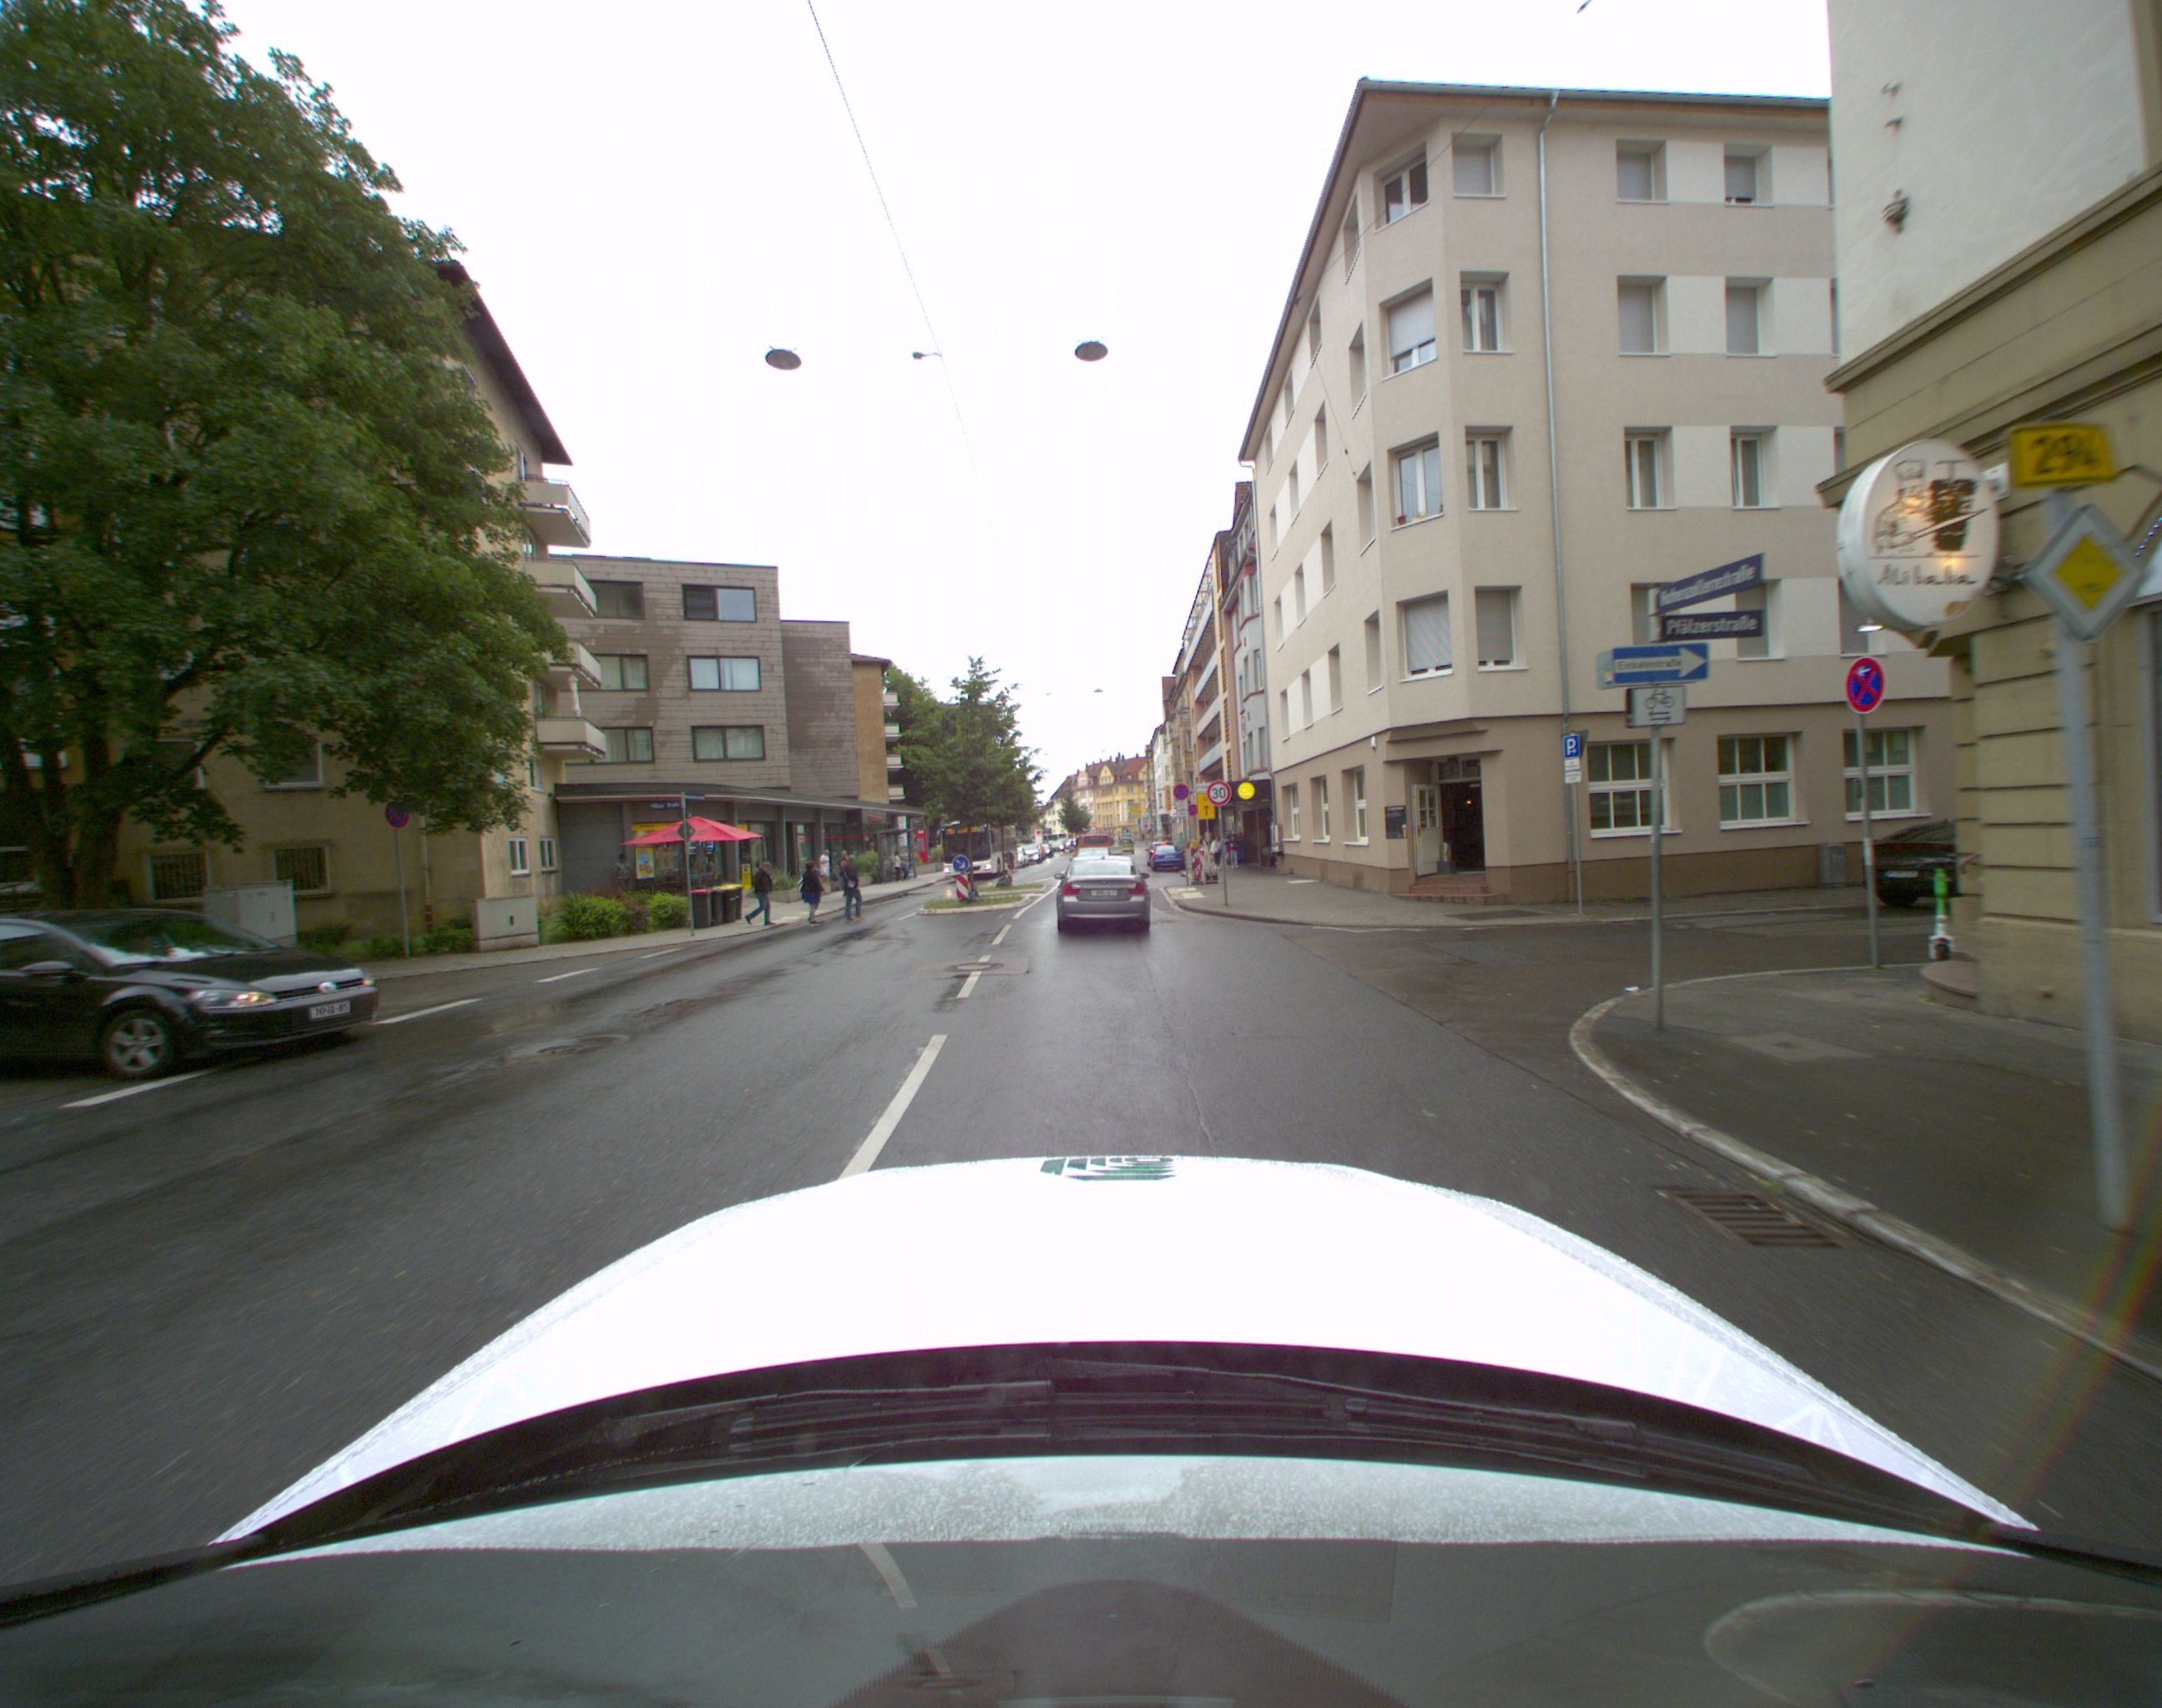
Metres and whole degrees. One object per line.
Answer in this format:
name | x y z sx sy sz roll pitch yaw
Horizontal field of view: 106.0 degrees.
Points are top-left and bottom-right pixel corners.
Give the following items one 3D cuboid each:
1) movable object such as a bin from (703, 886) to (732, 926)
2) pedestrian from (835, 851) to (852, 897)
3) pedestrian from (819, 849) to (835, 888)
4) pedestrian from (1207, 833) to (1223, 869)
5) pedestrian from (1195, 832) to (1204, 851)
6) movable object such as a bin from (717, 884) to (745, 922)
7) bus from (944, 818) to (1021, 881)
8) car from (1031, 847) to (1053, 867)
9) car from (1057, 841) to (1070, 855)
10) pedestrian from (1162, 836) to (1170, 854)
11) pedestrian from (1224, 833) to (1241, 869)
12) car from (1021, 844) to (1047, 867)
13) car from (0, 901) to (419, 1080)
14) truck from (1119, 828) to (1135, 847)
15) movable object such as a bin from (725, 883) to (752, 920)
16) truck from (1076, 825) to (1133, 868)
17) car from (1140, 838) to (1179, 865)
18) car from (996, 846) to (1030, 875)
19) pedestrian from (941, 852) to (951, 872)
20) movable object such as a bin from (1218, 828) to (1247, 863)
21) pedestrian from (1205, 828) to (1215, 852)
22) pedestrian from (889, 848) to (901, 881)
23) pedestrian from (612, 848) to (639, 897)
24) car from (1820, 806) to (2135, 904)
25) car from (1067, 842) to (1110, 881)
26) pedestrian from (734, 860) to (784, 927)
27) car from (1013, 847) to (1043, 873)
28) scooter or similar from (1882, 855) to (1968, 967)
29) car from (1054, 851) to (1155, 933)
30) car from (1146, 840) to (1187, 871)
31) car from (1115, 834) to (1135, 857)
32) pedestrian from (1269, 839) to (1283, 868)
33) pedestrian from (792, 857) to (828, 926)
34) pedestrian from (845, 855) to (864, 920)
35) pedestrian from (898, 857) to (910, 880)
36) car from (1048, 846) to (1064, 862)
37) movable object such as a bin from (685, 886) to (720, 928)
movable object such as a bin | -10.439 1.478 23.378 0.488 1.081 0.606 -4 -1 3
pedestrian | -9.333 0.789 32.004 0.542 1.790 0.465 0 -1 -7
pedestrian | -11.311 0.649 36.240 0.659 1.706 0.658 0 -1 -15
pedestrian | 6.337 -0.122 38.586 0.744 1.661 0.839 0 -1 8
pedestrian | 9.004 -0.915 62.028 0.560 1.421 0.799 -1 -1 15
movable object such as a bin | -10.316 1.444 24.032 0.488 1.081 0.606 -4 -1 3
bus | -5.468 -0.142 47.449 2.671 3.201 11.959 0 -1 2
car | -3.998 0.349 83.975 1.986 2.014 4.001 0 -1 1
car | -2.793 -0.896 126.953 1.988 2.014 3.997 0 -1 -2
pedestrian | 6.693 -0.705 64.107 0.519 1.421 0.431 0 -1 11
pedestrian | 7.068 -0.135 38.033 0.746 1.661 0.756 0 -1 8
car | -4.231 0.190 74.027 1.986 2.014 4.001 0 -1 1
car | -8.991 1.238 7.837 3.802 1.390 1.743 -2 -1 1
truck | 6.637 -2.389 119.039 2.208 2.544 4.781 0 -1 2
movable object such as a bin | -10.381 1.449 24.702 0.466 1.071 0.544 -5 -2 39
truck | 1.186 -0.357 42.973 2.214 2.117 4.639 1 0 -8
car | 4.583 -0.130 48.098 1.986 1.519 4.001 0 -1 1
car | -4.922 0.515 59.155 1.986 2.014 4.001 -1 -1 1
pedestrian | -9.638 0.588 58.019 0.617 1.378 0.545 0 -1 3
movable object such as a bin | 7.692 -0.423 41.342 1.119 1.702 1.433 -4 -1 0
pedestrian | 8.943 -0.946 56.438 0.611 1.661 0.756 0 -1 8
pedestrian | -9.632 0.548 42.242 0.542 1.709 0.465 0 -1 -4
pedestrian | -17.086 0.690 30.522 0.630 1.816 0.639 -3 1 44
car | 16.528 0.017 15.139 3.985 1.552 2.041 -2 -1 -9
car | 0.300 0.296 31.813 1.596 1.420 3.287 0 -1 0
pedestrian | -8.842 1.070 22.419 1.061 1.731 0.712 -2 1 -8
car | -4.219 0.514 65.230 1.986 2.014 4.001 -1 -1 1
scooter or similar | 9.170 0.602 8.836 1.384 1.129 0.461 1 -5 -40
car | 0.479 0.670 15.885 1.749 1.362 3.167 -2 1 2
car | 4.430 0.100 42.600 1.802 1.519 4.001 0 -1 1
car | 4.228 -0.789 78.227 1.699 2.014 3.999 0 -1 0
pedestrian | 8.274 -0.034 34.577 0.410 1.203 0.357 -5 1 5
pedestrian | -7.125 0.971 21.433 0.741 1.709 0.676 -5 0 -18
pedestrian | -5.995 0.880 21.533 0.466 1.709 0.541 0 -1 -18
pedestrian | -9.585 0.771 44.135 0.463 1.230 0.545 0 -1 3
car | -3.159 0.036 104.245 1.988 2.014 3.997 0 -1 -2
movable object such as a bin | -10.519 1.462 22.646 0.551 1.081 0.731 -4 -1 3
